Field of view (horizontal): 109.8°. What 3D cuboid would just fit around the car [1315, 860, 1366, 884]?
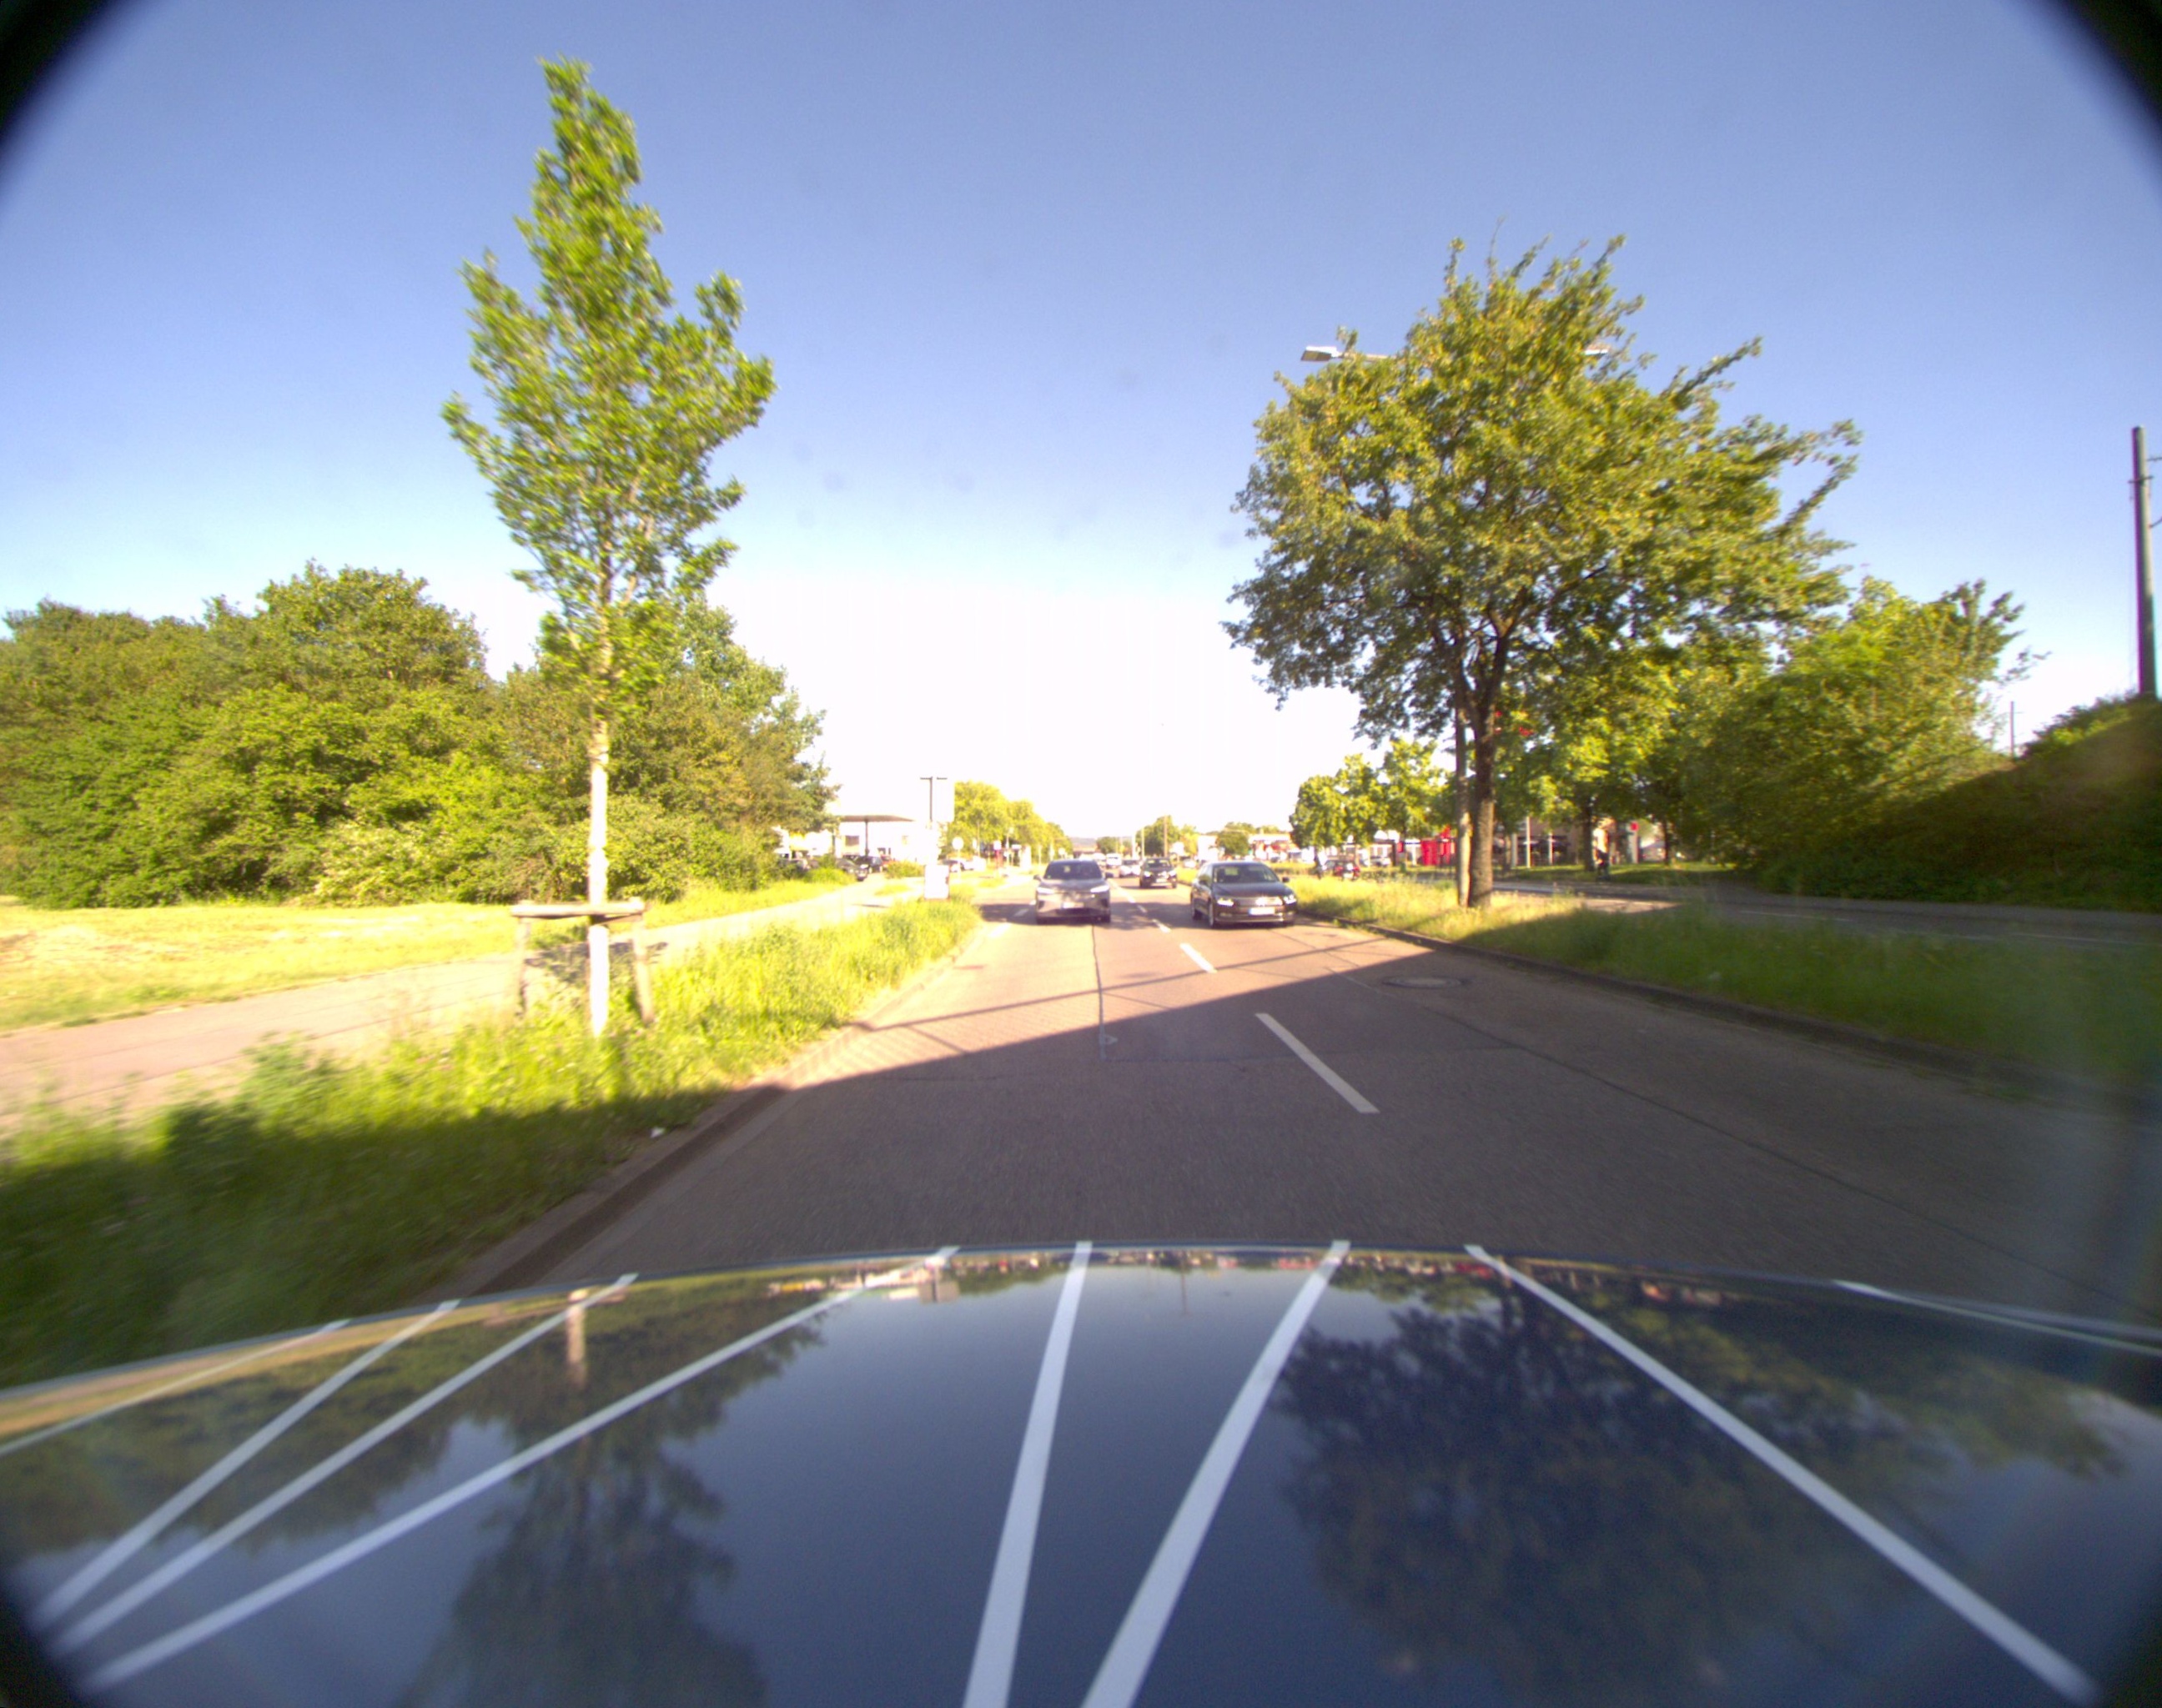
[{"bbox_3d":[16.453,1.097,48.361,1.821,1.433,4.089,0,0,0],"label":"car"}]

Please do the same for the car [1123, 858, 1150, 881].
[{"bbox_3d":[4.600,1.280,63.588,1.998,1.778,4.271,-2,0,1],"label":"car"}]

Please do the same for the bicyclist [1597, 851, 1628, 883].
[{"bbox_3d":[24.269,0.582,34.696,0.682,1.393,1.026,-2,1,0],"label":"bicyclist"}]

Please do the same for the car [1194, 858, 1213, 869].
[{"bbox_3d":[16.783,1.242,103.967,1.822,1.426,4.630,1,0,0],"label":"car"}]

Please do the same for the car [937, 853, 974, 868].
[{"bbox_3d":[-15.262,0.791,92.660,3.924,1.444,1.727,6,1,12],"label":"car"}]

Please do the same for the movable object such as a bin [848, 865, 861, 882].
[{"bbox_3d":[-14.372,1.238,48.219,0.583,1.068,0.508,-1,0,-41],"label":"movable object such as a bin"}]

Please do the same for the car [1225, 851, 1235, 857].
[{"bbox_3d":[39.678,-0.024,202.722,1.762,1.604,4.119,1,0,-1],"label":"car"}]

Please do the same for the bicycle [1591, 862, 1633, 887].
[{"bbox_3d":[24.277,0.925,34.756,0.685,1.024,1.714,-2,0,0],"label":"bicycle"}]

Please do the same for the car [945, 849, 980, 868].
[{"bbox_3d":[-14.877,0.563,95.515,3.986,2.002,1.690,7,0,33],"label":"car"}]

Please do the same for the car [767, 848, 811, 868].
[{"bbox_3d":[-29.664,0.425,77.245,3.700,1.896,1.924,-2,0,1],"label":"car"}]

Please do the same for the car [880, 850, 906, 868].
[{"bbox_3d":[-21.511,0.553,87.011,1.898,1.850,4.215,3,1,-2],"label":"car"}]

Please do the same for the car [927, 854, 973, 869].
[{"bbox_3d":[-14.637,0.896,85.120,1.895,1.522,4.847,2,0,44],"label":"car"}]

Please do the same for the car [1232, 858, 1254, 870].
[{"bbox_3d":[21.118,1.349,99.360,1.919,1.446,4.490,1,0,0],"label":"car"}]

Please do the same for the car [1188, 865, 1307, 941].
[{"bbox_3d":[3.674,1.019,17.509,1.848,1.445,4.266,-2,0,1],"label":"car"}]

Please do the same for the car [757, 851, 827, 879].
[{"bbox_3d":[-16.729,0.636,44.066,3.292,1.477,1.772,-2,0,2],"label":"car"}]

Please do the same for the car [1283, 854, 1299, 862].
[{"bbox_3d":[38.830,0.708,140.580,1.900,1.317,4.119,1,0,-1],"label":"car"}]

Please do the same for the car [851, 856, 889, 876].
[{"bbox_3d":[-17.116,0.917,61.894,1.748,1.563,4.249,0,0,2],"label":"car"}]

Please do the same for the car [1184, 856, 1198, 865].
[{"bbox_3d":[17.630,1.033,121.832,1.645,1.442,4.111,1,0,0],"label":"car"}]

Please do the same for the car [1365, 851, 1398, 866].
[{"bbox_3d":[41.448,0.610,104.858,1.851,1.840,3.820,-3,0,-39],"label":"car"}]

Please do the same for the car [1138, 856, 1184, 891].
[{"bbox_3d":[4.211,0.975,40.702,1.998,1.674,4.696,-2,0,1],"label":"car"}]

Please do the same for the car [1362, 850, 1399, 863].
[{"bbox_3d":[39.563,0.361,100.372,1.899,1.652,4.122,-3,0,-42],"label":"car"}]

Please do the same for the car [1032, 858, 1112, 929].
[{"bbox_3d":[-0.164,0.943,20.148,1.848,1.615,4.266,-2,0,1],"label":"car"}]

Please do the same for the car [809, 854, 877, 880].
[{"bbox_3d":[-16.357,0.851,52.196,4.547,1.630,1.805,2,1,30],"label":"car"}]

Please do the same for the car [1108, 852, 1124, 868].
[{"bbox_3d":[5.206,0.847,113.422,2.089,2.229,4.000,-2,0,1],"label":"car"}]

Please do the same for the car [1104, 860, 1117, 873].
[{"bbox_3d":[4.879,2.151,127.704,1.998,2.002,4.000,-2,0,1],"label":"car"}]

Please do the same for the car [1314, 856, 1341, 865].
[{"bbox_3d":[43.832,1.124,135.034,4.116,1.424,1.901,1,0,1],"label":"car"}]

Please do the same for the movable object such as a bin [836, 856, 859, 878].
[{"bbox_3d":[-15.257,0.854,49.662,0.991,1.420,1.257,-1,0,-42],"label":"movable object such as a bin"}]
